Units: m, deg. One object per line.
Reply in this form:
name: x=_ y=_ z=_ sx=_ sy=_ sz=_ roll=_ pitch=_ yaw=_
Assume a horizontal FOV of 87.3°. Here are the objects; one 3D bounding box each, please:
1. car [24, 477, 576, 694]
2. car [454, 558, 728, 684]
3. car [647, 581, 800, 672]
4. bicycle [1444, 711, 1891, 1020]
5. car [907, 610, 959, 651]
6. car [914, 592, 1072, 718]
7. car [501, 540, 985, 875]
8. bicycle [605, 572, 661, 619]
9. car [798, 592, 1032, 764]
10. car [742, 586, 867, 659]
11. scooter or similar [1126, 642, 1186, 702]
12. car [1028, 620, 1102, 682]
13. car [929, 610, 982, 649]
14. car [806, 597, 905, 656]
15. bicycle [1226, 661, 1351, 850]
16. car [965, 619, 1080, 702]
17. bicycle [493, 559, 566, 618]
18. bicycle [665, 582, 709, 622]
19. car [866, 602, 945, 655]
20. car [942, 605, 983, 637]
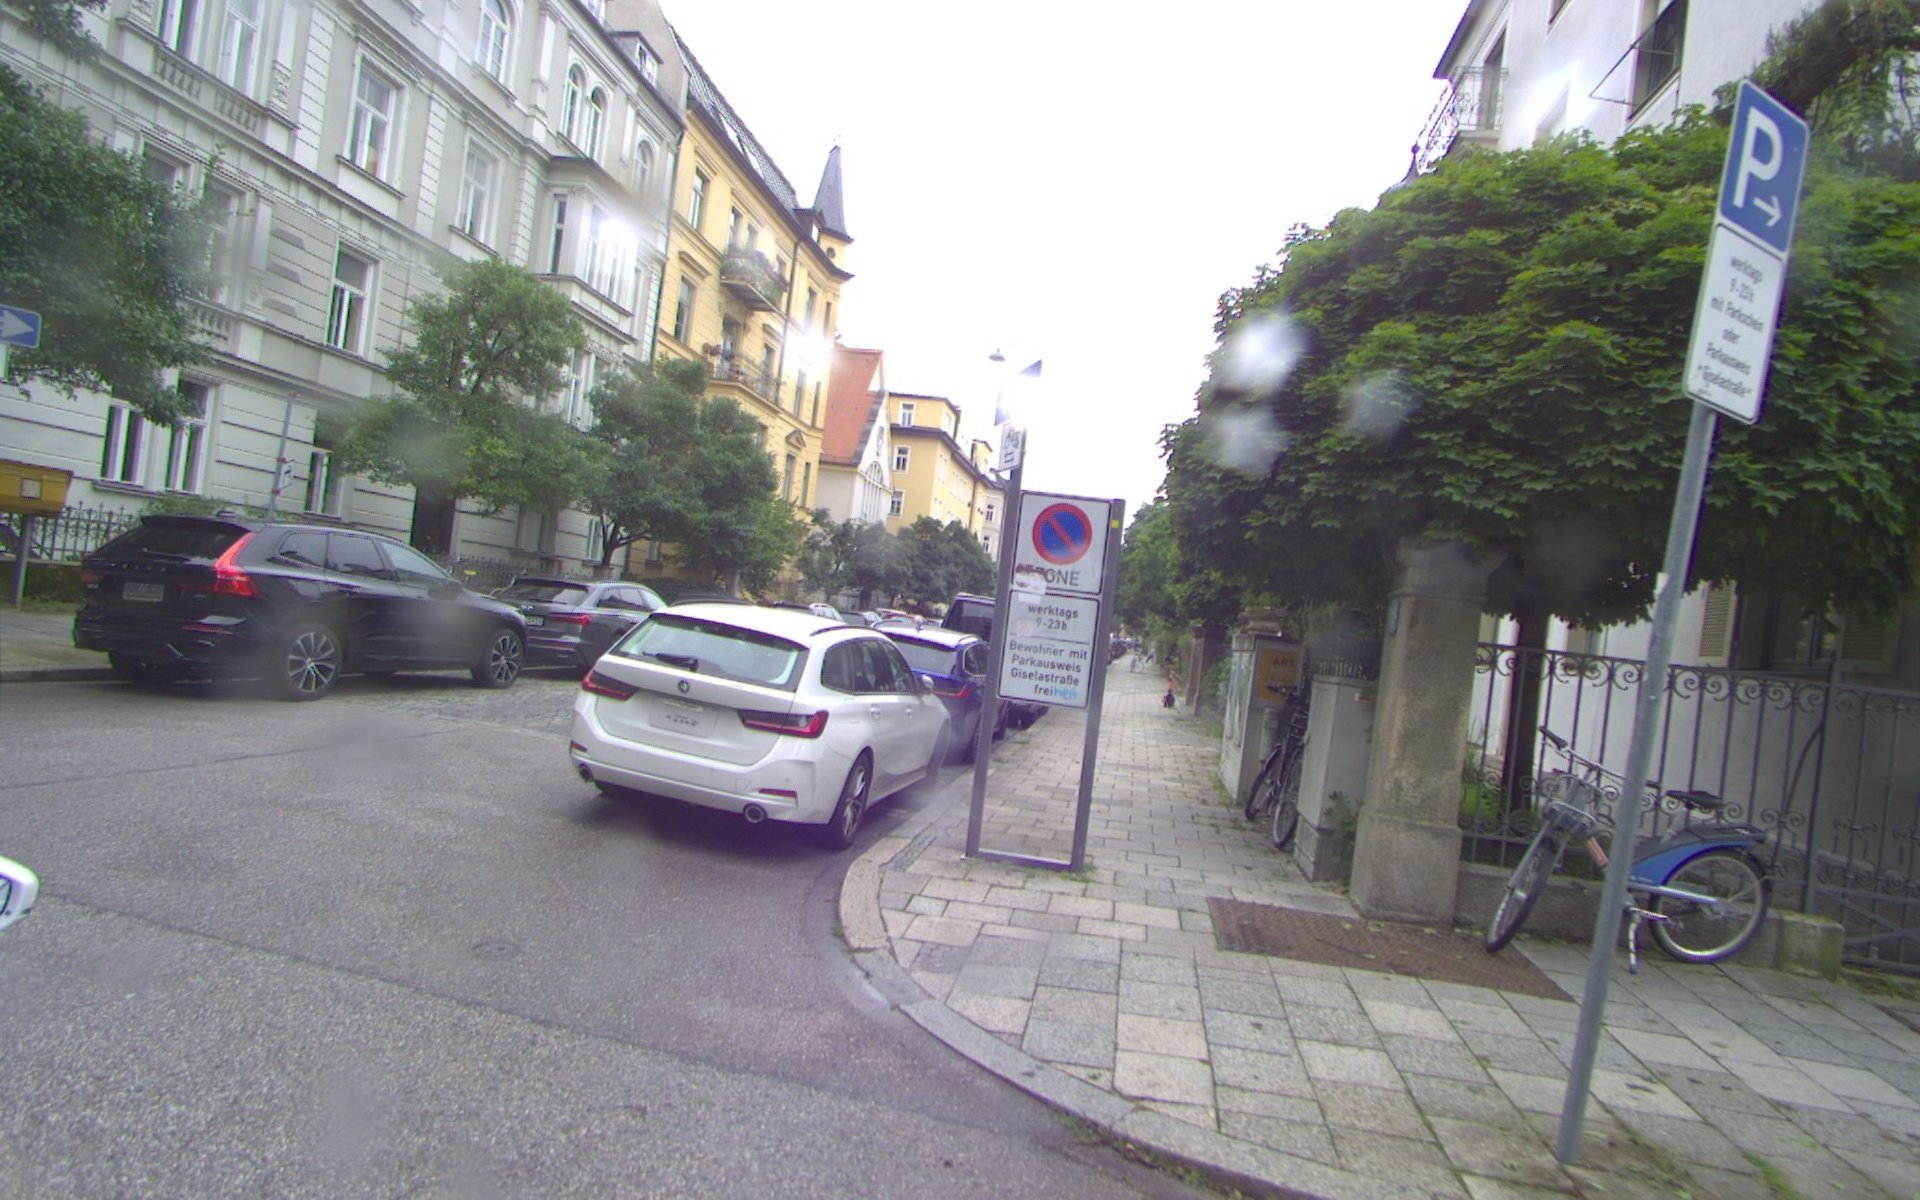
car: x=-6.421 y=-0.022 z=10.761 sx=1.906 sy=1.672 sz=5.059 roll=4 pitch=-2 yaw=10
car: x=-5.521 y=0.345 z=15.971 sx=1.776 sy=1.523 sz=5.181 roll=5 pitch=-1 yaw=8
car: x=-4.703 y=0.548 z=20.561 sx=1.676 sy=1.535 sz=3.729 roll=5 pitch=-1 yaw=9
bicycle: x=3.580 y=1.322 z=5.202 sx=1.743 sy=1.241 sz=0.544 roll=7 pitch=1 yaw=5
car: x=-1.062 y=1.250 z=40.385 sx=1.409 sy=1.477 sz=2.653 roll=4 pitch=-2 yaw=12
car: x=0.767 y=0.935 z=18.172 sx=1.989 sy=1.711 sz=4.853 roll=7 pitch=0 yaw=10
car: x=-1.201 y=0.659 z=8.074 sx=1.877 sy=1.550 sz=4.925 roll=10 pitch=0 yaw=10
bicycle: x=-8.596 y=-0.095 z=26.506 sx=0.365 sy=1.115 sz=1.835 roll=8 pitch=0 yaw=14
car: x=-0.323 y=0.928 z=13.105 sx=1.899 sy=1.524 sz=4.880 roll=9 pitch=-1 yaw=9
car: x=-3.754 y=0.611 z=25.157 sx=1.699 sy=1.559 sz=4.341 roll=4 pitch=-2 yaw=10
scooter or similar: x=4.791 y=1.763 z=24.518 sx=0.621 sy=1.348 sz=1.597 roll=4 pitch=-2 yaw=40
car: x=3.628 y=1.717 z=34.014 sx=1.892 sy=1.654 sz=4.050 roll=9 pitch=-1 yaw=12
car: x=-0.158 y=1.418 z=46.824 sx=1.634 sy=1.552 sz=3.487 roll=6 pitch=-1 yaw=12
car: x=-3.102 y=0.833 z=30.601 sx=1.891 sy=1.565 sz=4.004 roll=4 pitch=-2 yaw=10
bicycle: x=2.658 y=1.195 z=8.321 sx=0.459 sy=1.290 sz=1.921 roll=8 pitch=-1 yaw=8
car: x=1.594 y=1.381 z=23.717 sx=1.892 sy=1.451 sz=4.805 roll=10 pitch=0 yaw=11
bicycle: x=-9.333 y=-0.218 z=21.868 sx=0.357 sy=1.146 sz=1.889 roll=8 pitch=-1 yaw=10
bicycle: x=-7.994 y=0.068 z=29.530 sx=0.411 sy=1.039 sz=1.766 roll=8 pitch=-1 yaw=11
car: x=-1.887 y=1.045 z=35.961 sx=1.891 sy=1.655 sz=3.809 roll=4 pitch=-2 yaw=10
car: x=0.182 y=1.334 z=61.319 sx=1.750 sy=1.654 sz=3.742 roll=7 pitch=-1 yaw=9
